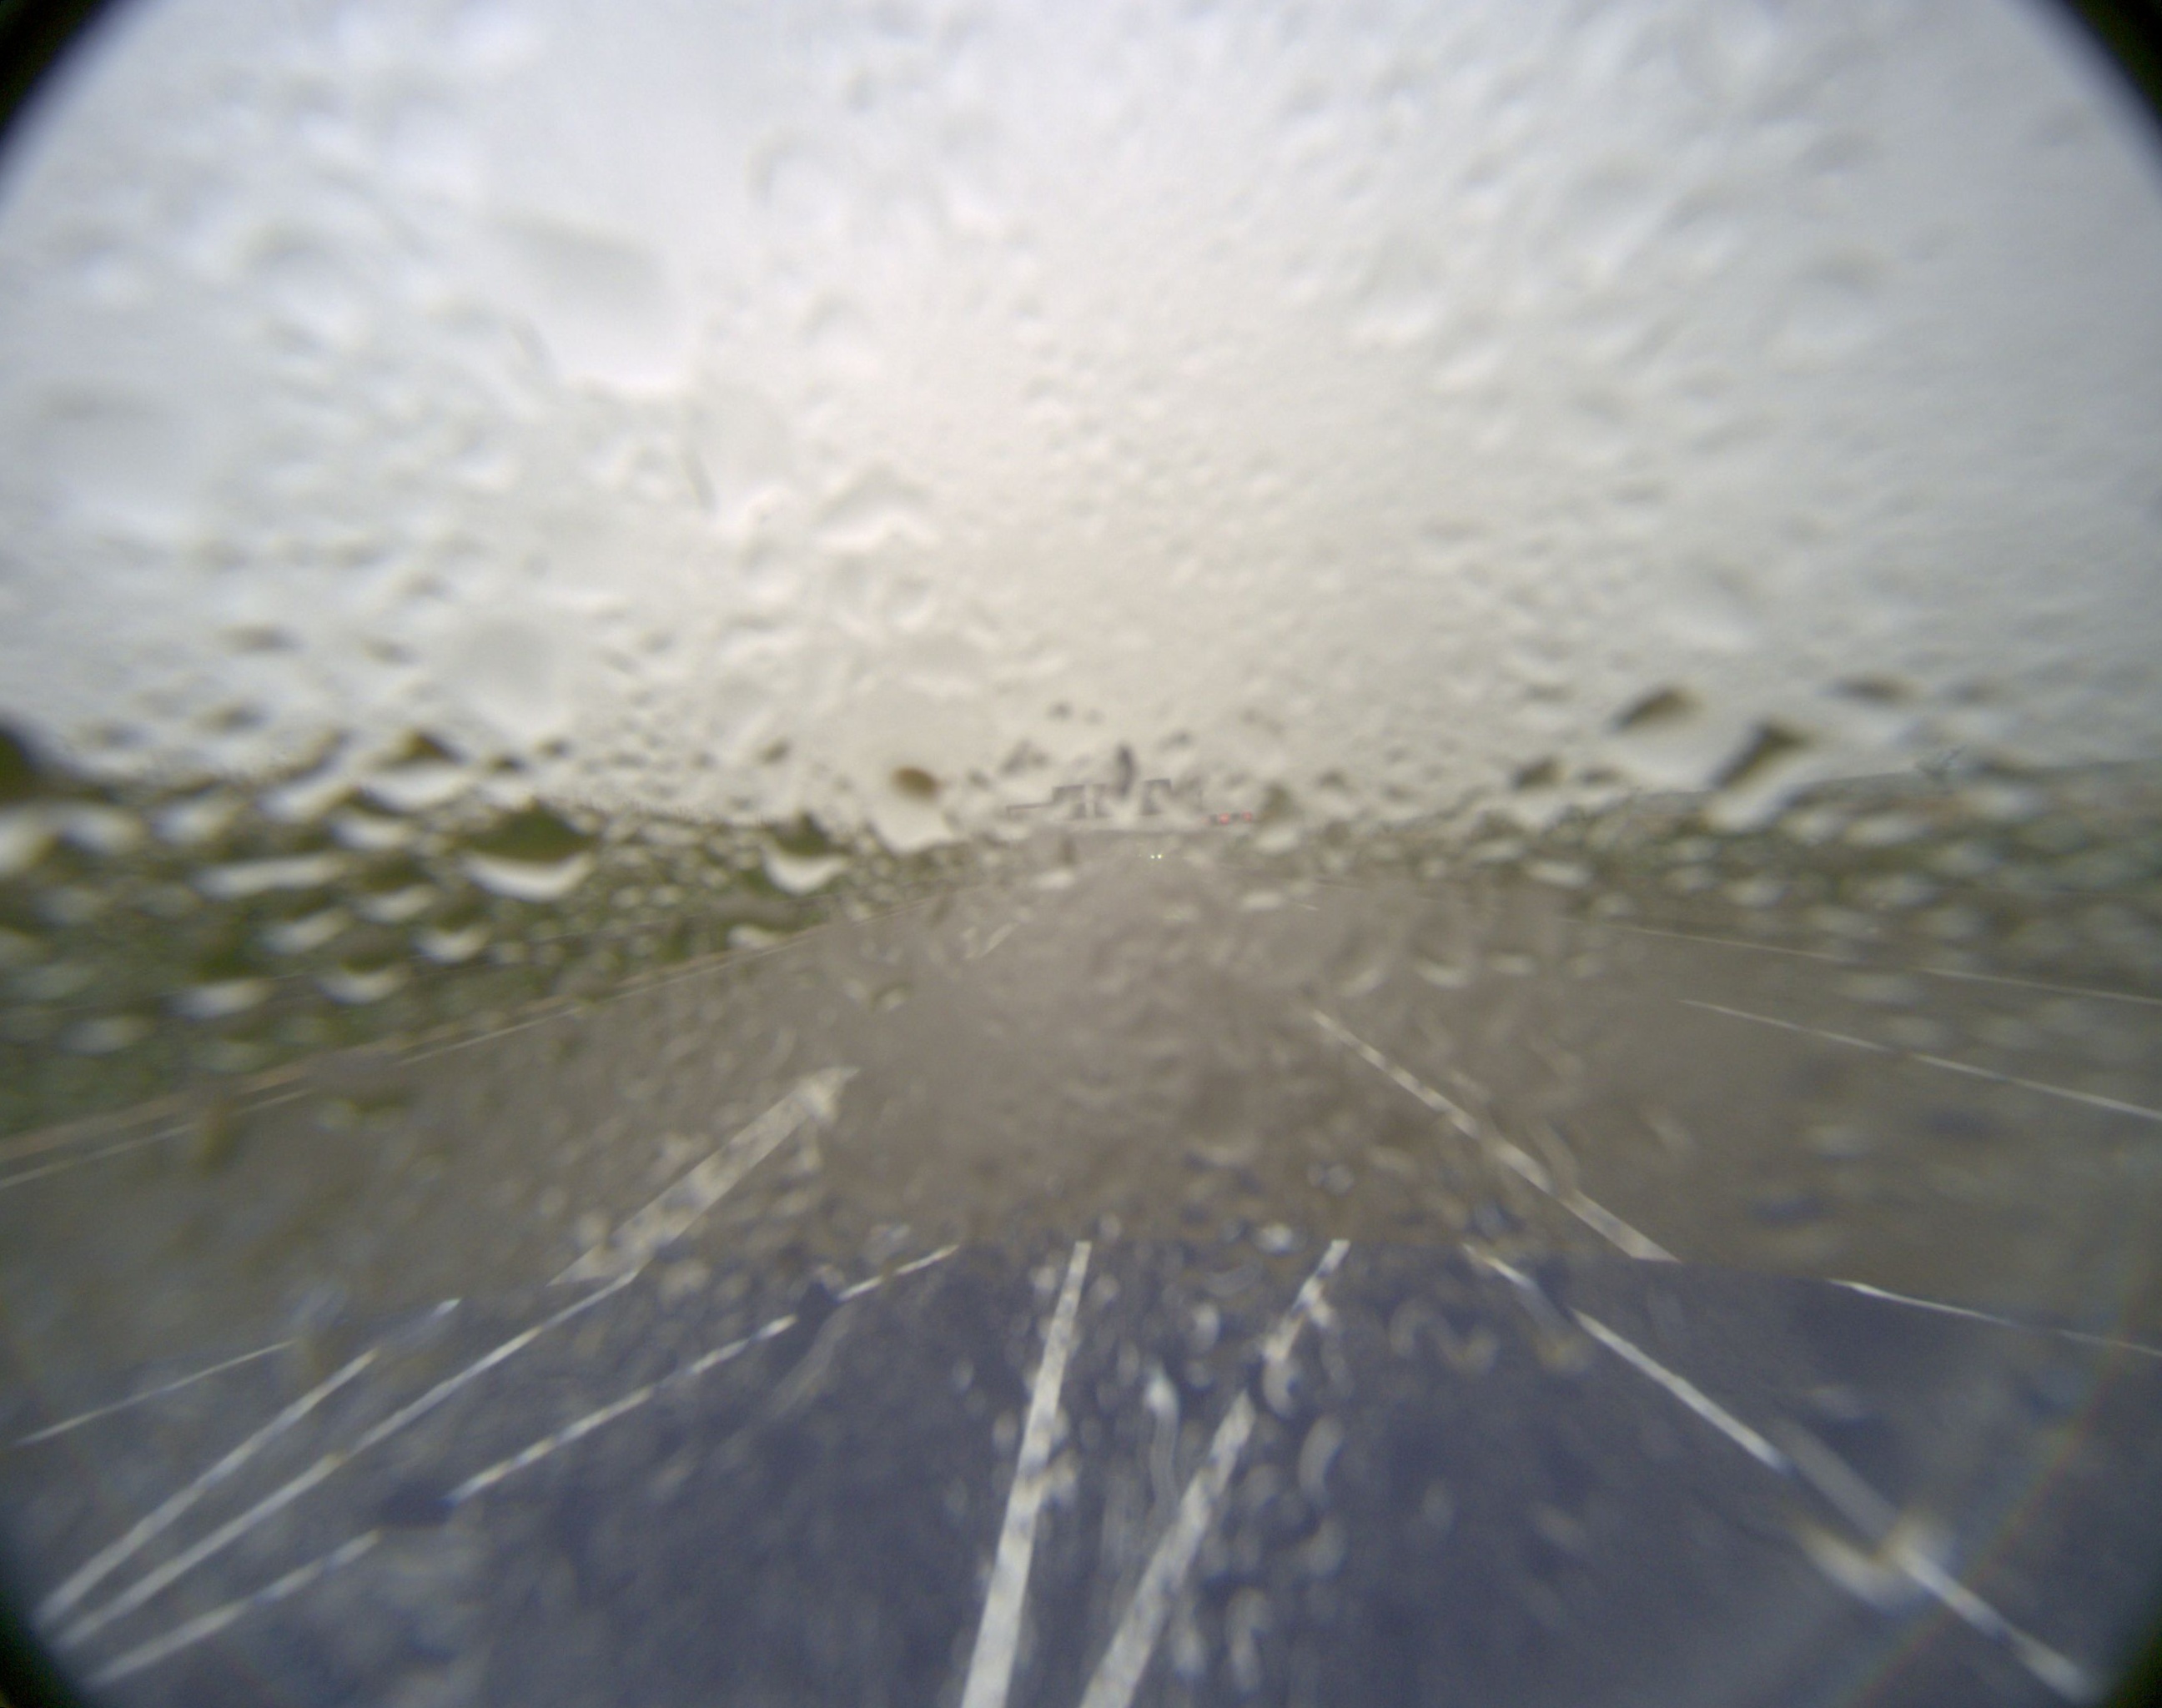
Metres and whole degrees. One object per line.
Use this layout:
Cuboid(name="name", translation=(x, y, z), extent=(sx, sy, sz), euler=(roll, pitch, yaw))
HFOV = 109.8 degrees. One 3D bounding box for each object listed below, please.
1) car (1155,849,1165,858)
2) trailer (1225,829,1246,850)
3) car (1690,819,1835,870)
Cuboid(name="car", translation=(14.135, -0.068, 136.351), extent=(1.700, 1.543, 3.734), euler=(-2, 1, 6))
Cuboid(name="trailer", translation=(31.019, -2.855, 152.910), extent=(1.998, 4.016, 14.305), euler=(-2, 0, 4))
Cuboid(name="car", translation=(23.256, -0.318, 26.129), extent=(1.683, 1.587, 3.721), euler=(-2, 0, 1))
